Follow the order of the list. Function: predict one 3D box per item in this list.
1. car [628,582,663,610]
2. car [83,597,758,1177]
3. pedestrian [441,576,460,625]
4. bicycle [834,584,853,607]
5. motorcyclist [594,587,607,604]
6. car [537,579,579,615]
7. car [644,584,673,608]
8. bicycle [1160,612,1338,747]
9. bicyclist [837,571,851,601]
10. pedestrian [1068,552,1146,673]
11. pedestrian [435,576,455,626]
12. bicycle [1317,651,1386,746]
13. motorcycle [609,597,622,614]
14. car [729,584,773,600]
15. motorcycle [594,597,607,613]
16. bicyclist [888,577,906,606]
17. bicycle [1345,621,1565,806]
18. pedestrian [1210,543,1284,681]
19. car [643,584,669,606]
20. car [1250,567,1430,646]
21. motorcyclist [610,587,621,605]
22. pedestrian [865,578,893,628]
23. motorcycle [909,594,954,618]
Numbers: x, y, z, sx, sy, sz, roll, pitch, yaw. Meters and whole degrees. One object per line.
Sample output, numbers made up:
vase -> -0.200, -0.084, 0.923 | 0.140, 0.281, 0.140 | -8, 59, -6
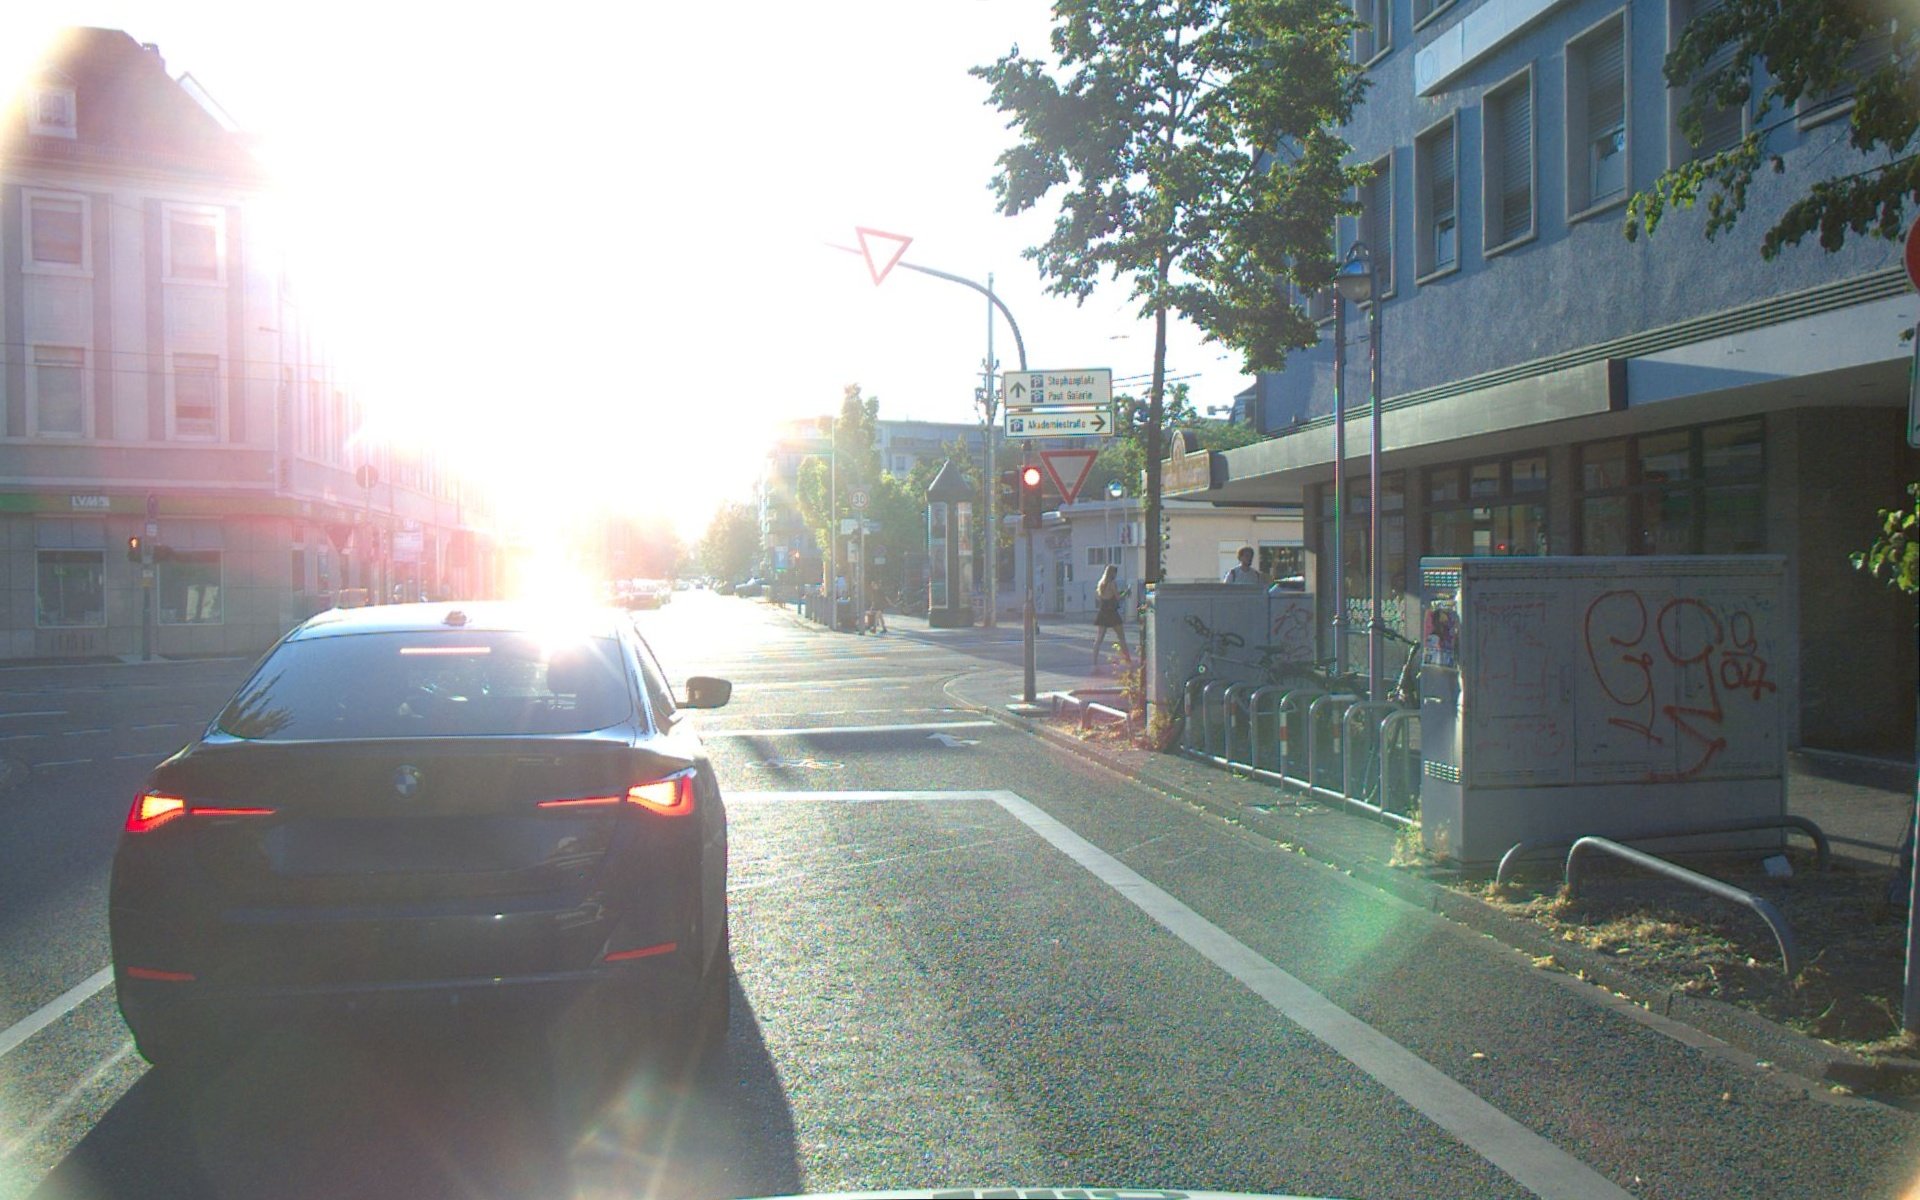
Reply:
car -> -17.940, -0.241, 94.380 | 1.784, 1.545, 3.992 | -1, 1, -9
car -> -1.746, 0.731, 6.448 | 1.705, 1.453, 4.214 | 0, 0, -10
pedestrian -> -19.863, 0.017, 64.509 | 0.605, 1.909, 0.676 | 1, 0, -13
bicycle -> -5.938, -0.216, 84.213 | 0.541, 1.179, 2.134 | 1, 0, -17
motorcyclist -> -20.385, -0.261, 93.818 | 0.564, 0.931, 2.196 | 1, 0, -8
car -> -21.069, -0.197, 86.780 | 1.784, 1.819, 3.992 | -1, 1, -9
car -> -20.550, -0.303, 112.824 | 1.784, 1.545, 3.992 | -1, 1, -9
bicycle -> 2.651, 0.719, 15.174 | 1.582, 1.191, 0.318 | -1, 0, -7
bicyclist -> -5.916, -0.726, 84.146 | 0.541, 1.507, 0.719 | 1, 0, -17
pedestrian -> 2.437, 0.194, 27.384 | 0.991, 1.892, 0.634 | -6, 3, -29
pedestrian -> -19.820, 0.022, 63.663 | 0.631, 1.909, 0.630 | 1, 0, -9
bicycle -> 3.606, 0.894, 15.270 | 0.244, 0.810, 1.114 | 1, 0, -7
motorcycle -> -19.467, 0.297, 93.461 | 0.564, 0.931, 2.196 | 1, 0, -8
car -> -20.529, -0.806, 162.330 | 3.951, 1.545, 1.803 | -1, 1, -34
motorcycle -> -20.402, 0.280, 93.820 | 0.564, 0.931, 2.196 | 1, 0, -8
bicyclist -> -3.384, -0.470, 88.572 | 0.865, 1.532, 0.612 | 1, 0, 3
bicycle -> 3.418, 0.777, 11.445 | 1.413, 1.241, 0.383 | 1, 0, -8
pedestrian -> 3.973, 0.158, 22.932 | 0.820, 1.874, 0.677 | -1, 0, -9
car -> -22.578, -0.392, 122.924 | 1.784, 1.545, 3.992 | -1, 1, -9
car -> 8.997, 0.110, 39.015 | 4.242, 1.737, 1.784 | -1, 1, -35
motorcyclist -> -19.434, -0.243, 93.363 | 0.564, 1.013, 0.701 | 1, 0, -9
pedestrian -> -2.489, 0.094, 51.062 | 0.724, 1.555, 0.468 | 1, 0, -27
motorcycle -> -1.177, 0.227, 67.807 | 1.644, 0.955, 0.851 | -1, 1, -20
